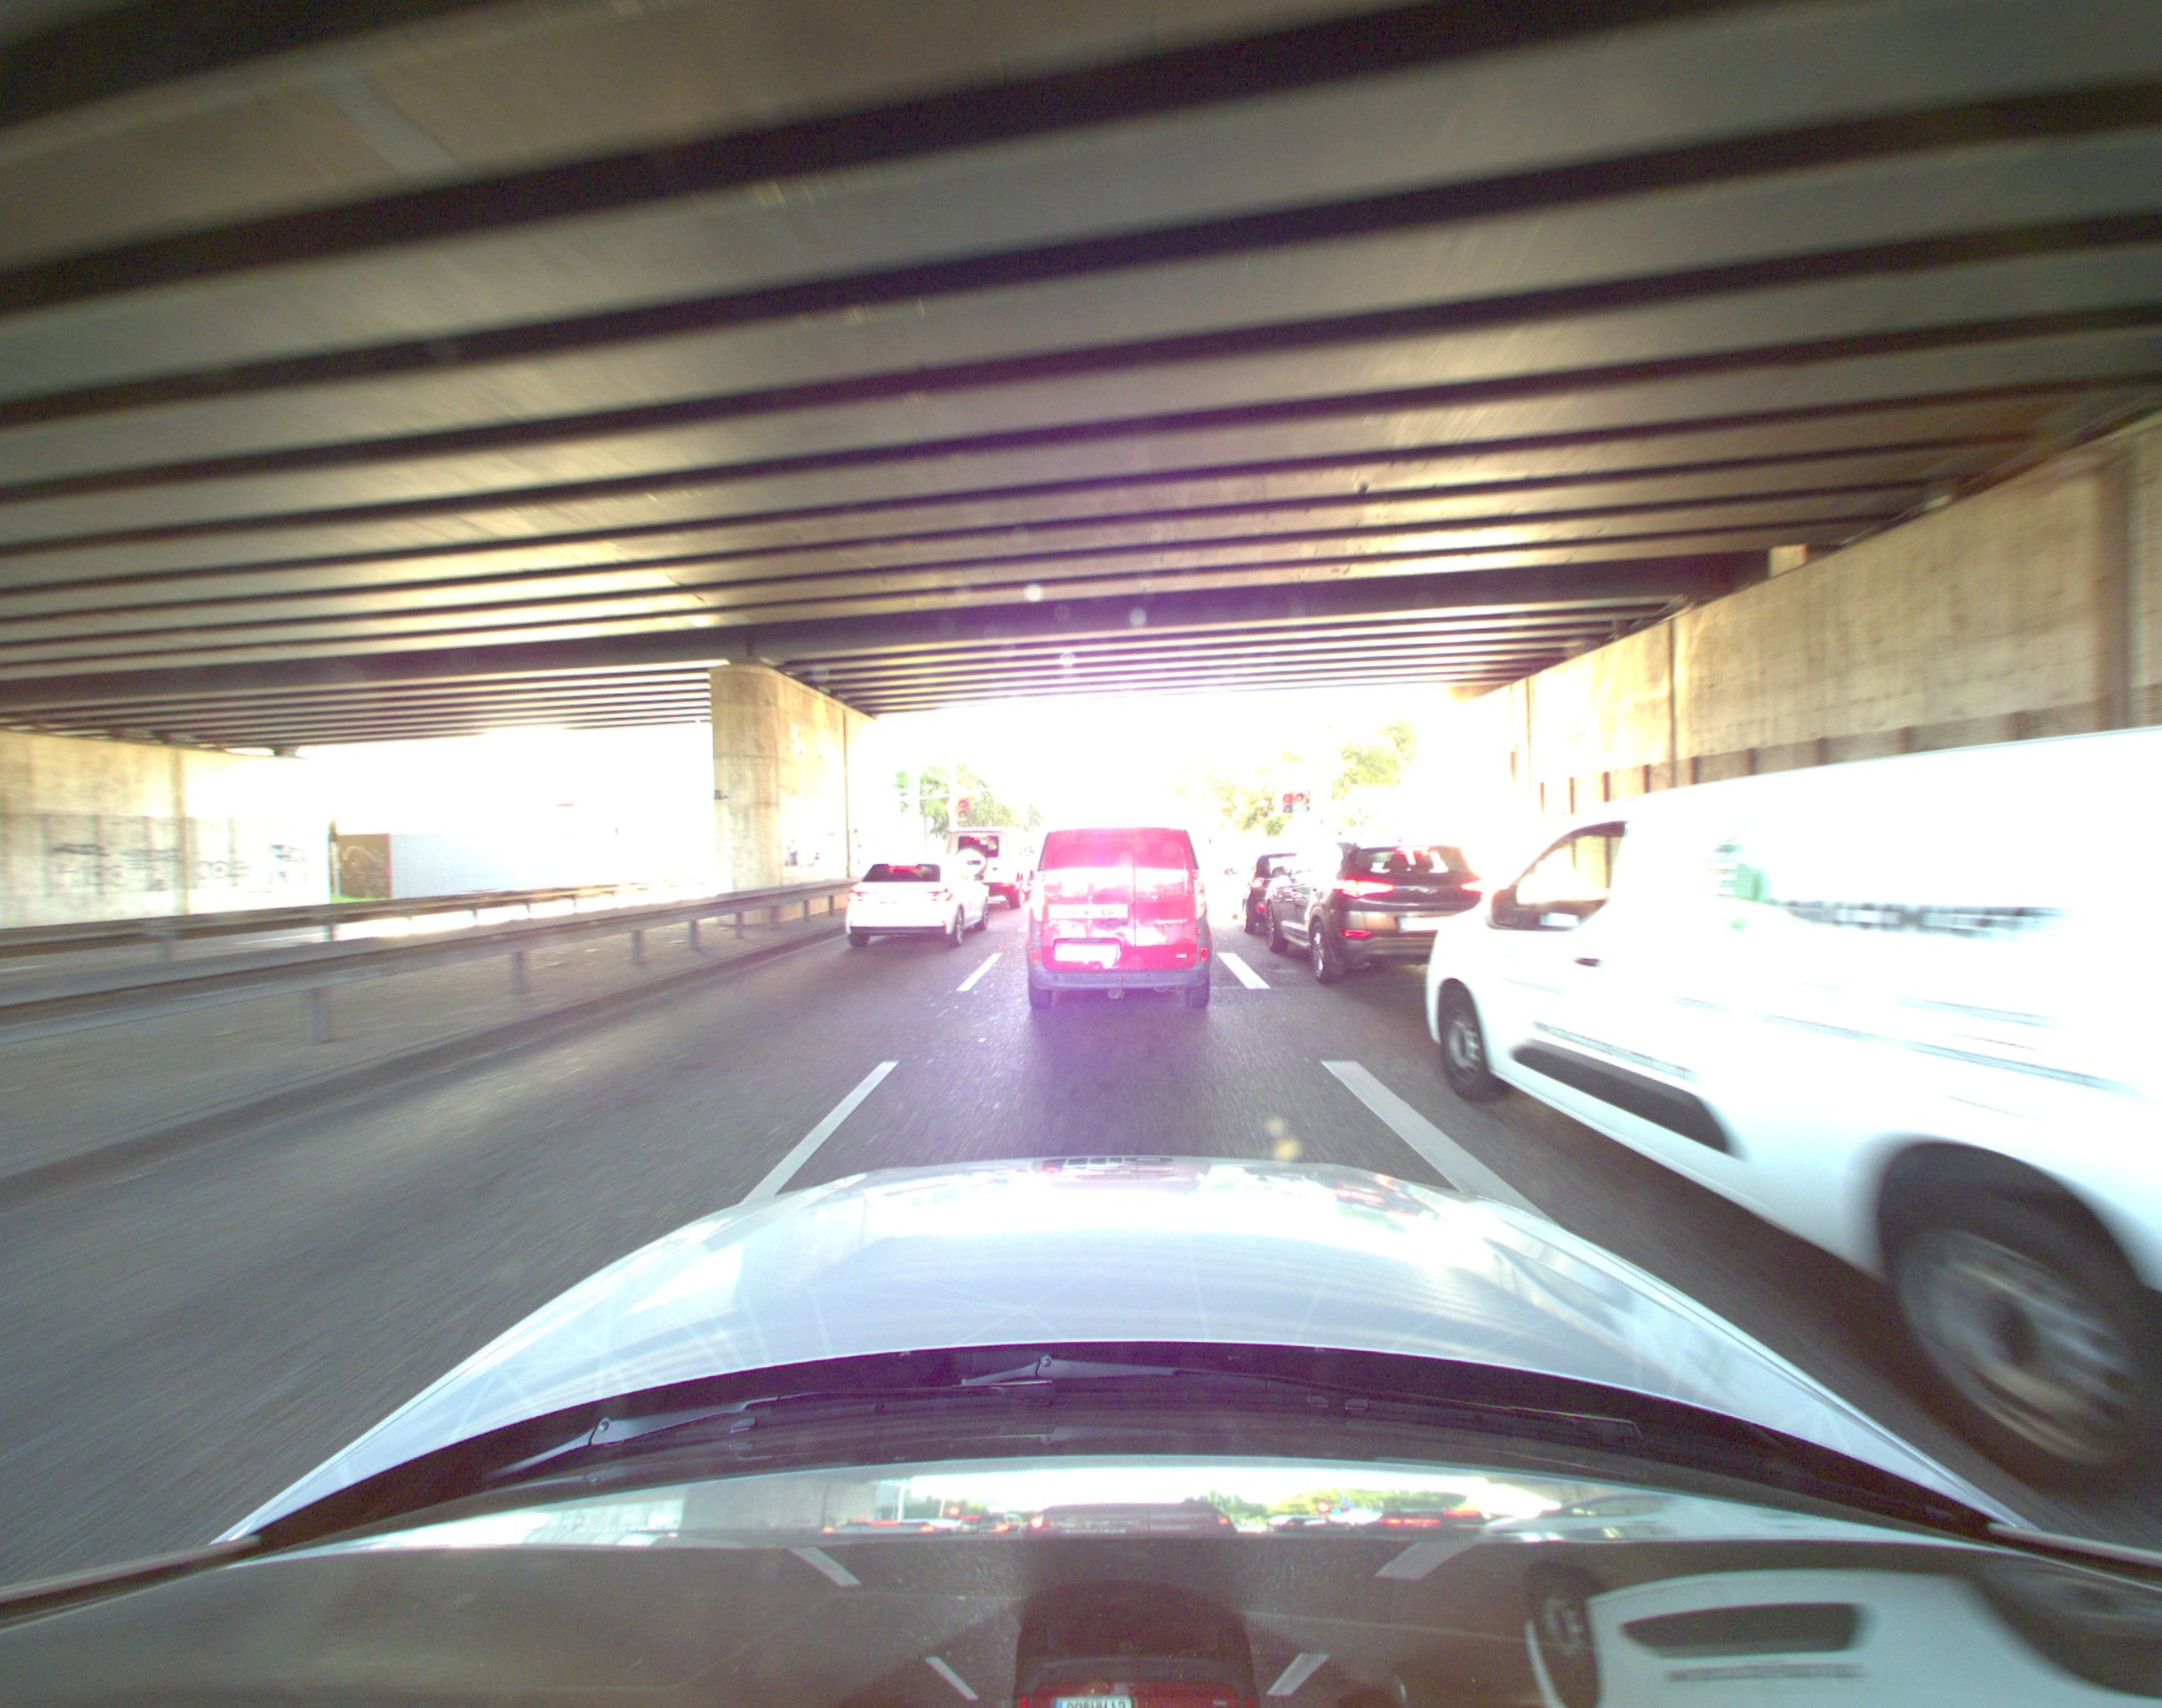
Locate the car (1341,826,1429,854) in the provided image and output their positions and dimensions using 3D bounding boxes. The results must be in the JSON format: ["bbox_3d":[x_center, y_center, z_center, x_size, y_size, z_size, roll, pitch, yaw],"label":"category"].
[{"bbox_3d":[17.453,-0.785,46.867,4.334,1.607,1.999,0,0,-1],"label":"car"}]

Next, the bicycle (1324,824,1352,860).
[{"bbox_3d":[7.482,-0.341,23.751,0.672,1.024,1.534,0,0,13],"label":"bicycle"}]

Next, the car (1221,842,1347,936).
[{"bbox_3d":[3.729,0.549,15.546,1.645,1.552,3.867,0,1,3],"label":"car"}]

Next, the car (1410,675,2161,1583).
[{"bbox_3d":[3.103,0.520,3.355,1.807,1.833,4.301,0,1,1],"label":"car"}]

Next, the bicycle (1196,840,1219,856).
[{"bbox_3d":[10.262,-0.459,65.900,1.726,1.233,0.557,-1,0,-4],"label":"bicycle"}]

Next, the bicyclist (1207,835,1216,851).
[{"bbox_3d":[10.847,-0.880,67.885,0.651,1.329,0.603,0,-1,-1],"label":"bicyclist"}]

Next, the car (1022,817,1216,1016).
[{"bbox_3d":[0.431,0.553,9.270,1.712,1.764,4.003,0,0,3],"label":"car"}]

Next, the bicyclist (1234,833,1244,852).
[{"bbox_3d":[12.888,-0.967,66.496,0.751,1.542,0.698,-1,0,5],"label":"bicyclist"}]

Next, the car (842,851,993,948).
[{"bbox_3d":[-2.622,0.670,13.948,1.686,1.410,3.815,0,0,2],"label":"car"}]

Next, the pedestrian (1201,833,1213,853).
[{"bbox_3d":[10.169,-0.889,65.900,0.835,1.554,0.556,-1,0,-4],"label":"pedestrian"}]

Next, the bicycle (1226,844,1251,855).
[{"bbox_3d":[12.865,-0.394,66.496,1.943,0.874,0.700,-1,0,5],"label":"bicycle"}]

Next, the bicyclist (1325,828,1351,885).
[{"bbox_3d":[7.475,0.067,23.710,0.672,1.629,0.646,0,-1,13],"label":"bicyclist"}]

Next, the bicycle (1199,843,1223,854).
[{"bbox_3d":[10.803,-0.454,67.873,1.907,0.867,0.605,-1,0,-2],"label":"bicycle"}]

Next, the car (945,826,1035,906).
[{"bbox_3d":[-2.284,0.288,21.372,1.806,1.904,3.815,0,0,2],"label":"car"}]

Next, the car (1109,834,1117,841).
[{"bbox_3d":[8.802,-4.518,223.147,1.985,2.014,4.003,0,0,3],"label":"car"}]

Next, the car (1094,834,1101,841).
[{"bbox_3d":[5.149,-5.028,248.120,1.985,2.014,4.003,0,0,3],"label":"car"}]

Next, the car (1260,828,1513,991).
[{"bbox_3d":[3.529,0.544,10.243,1.771,1.655,3.991,0,0,1],"label":"car"}]
